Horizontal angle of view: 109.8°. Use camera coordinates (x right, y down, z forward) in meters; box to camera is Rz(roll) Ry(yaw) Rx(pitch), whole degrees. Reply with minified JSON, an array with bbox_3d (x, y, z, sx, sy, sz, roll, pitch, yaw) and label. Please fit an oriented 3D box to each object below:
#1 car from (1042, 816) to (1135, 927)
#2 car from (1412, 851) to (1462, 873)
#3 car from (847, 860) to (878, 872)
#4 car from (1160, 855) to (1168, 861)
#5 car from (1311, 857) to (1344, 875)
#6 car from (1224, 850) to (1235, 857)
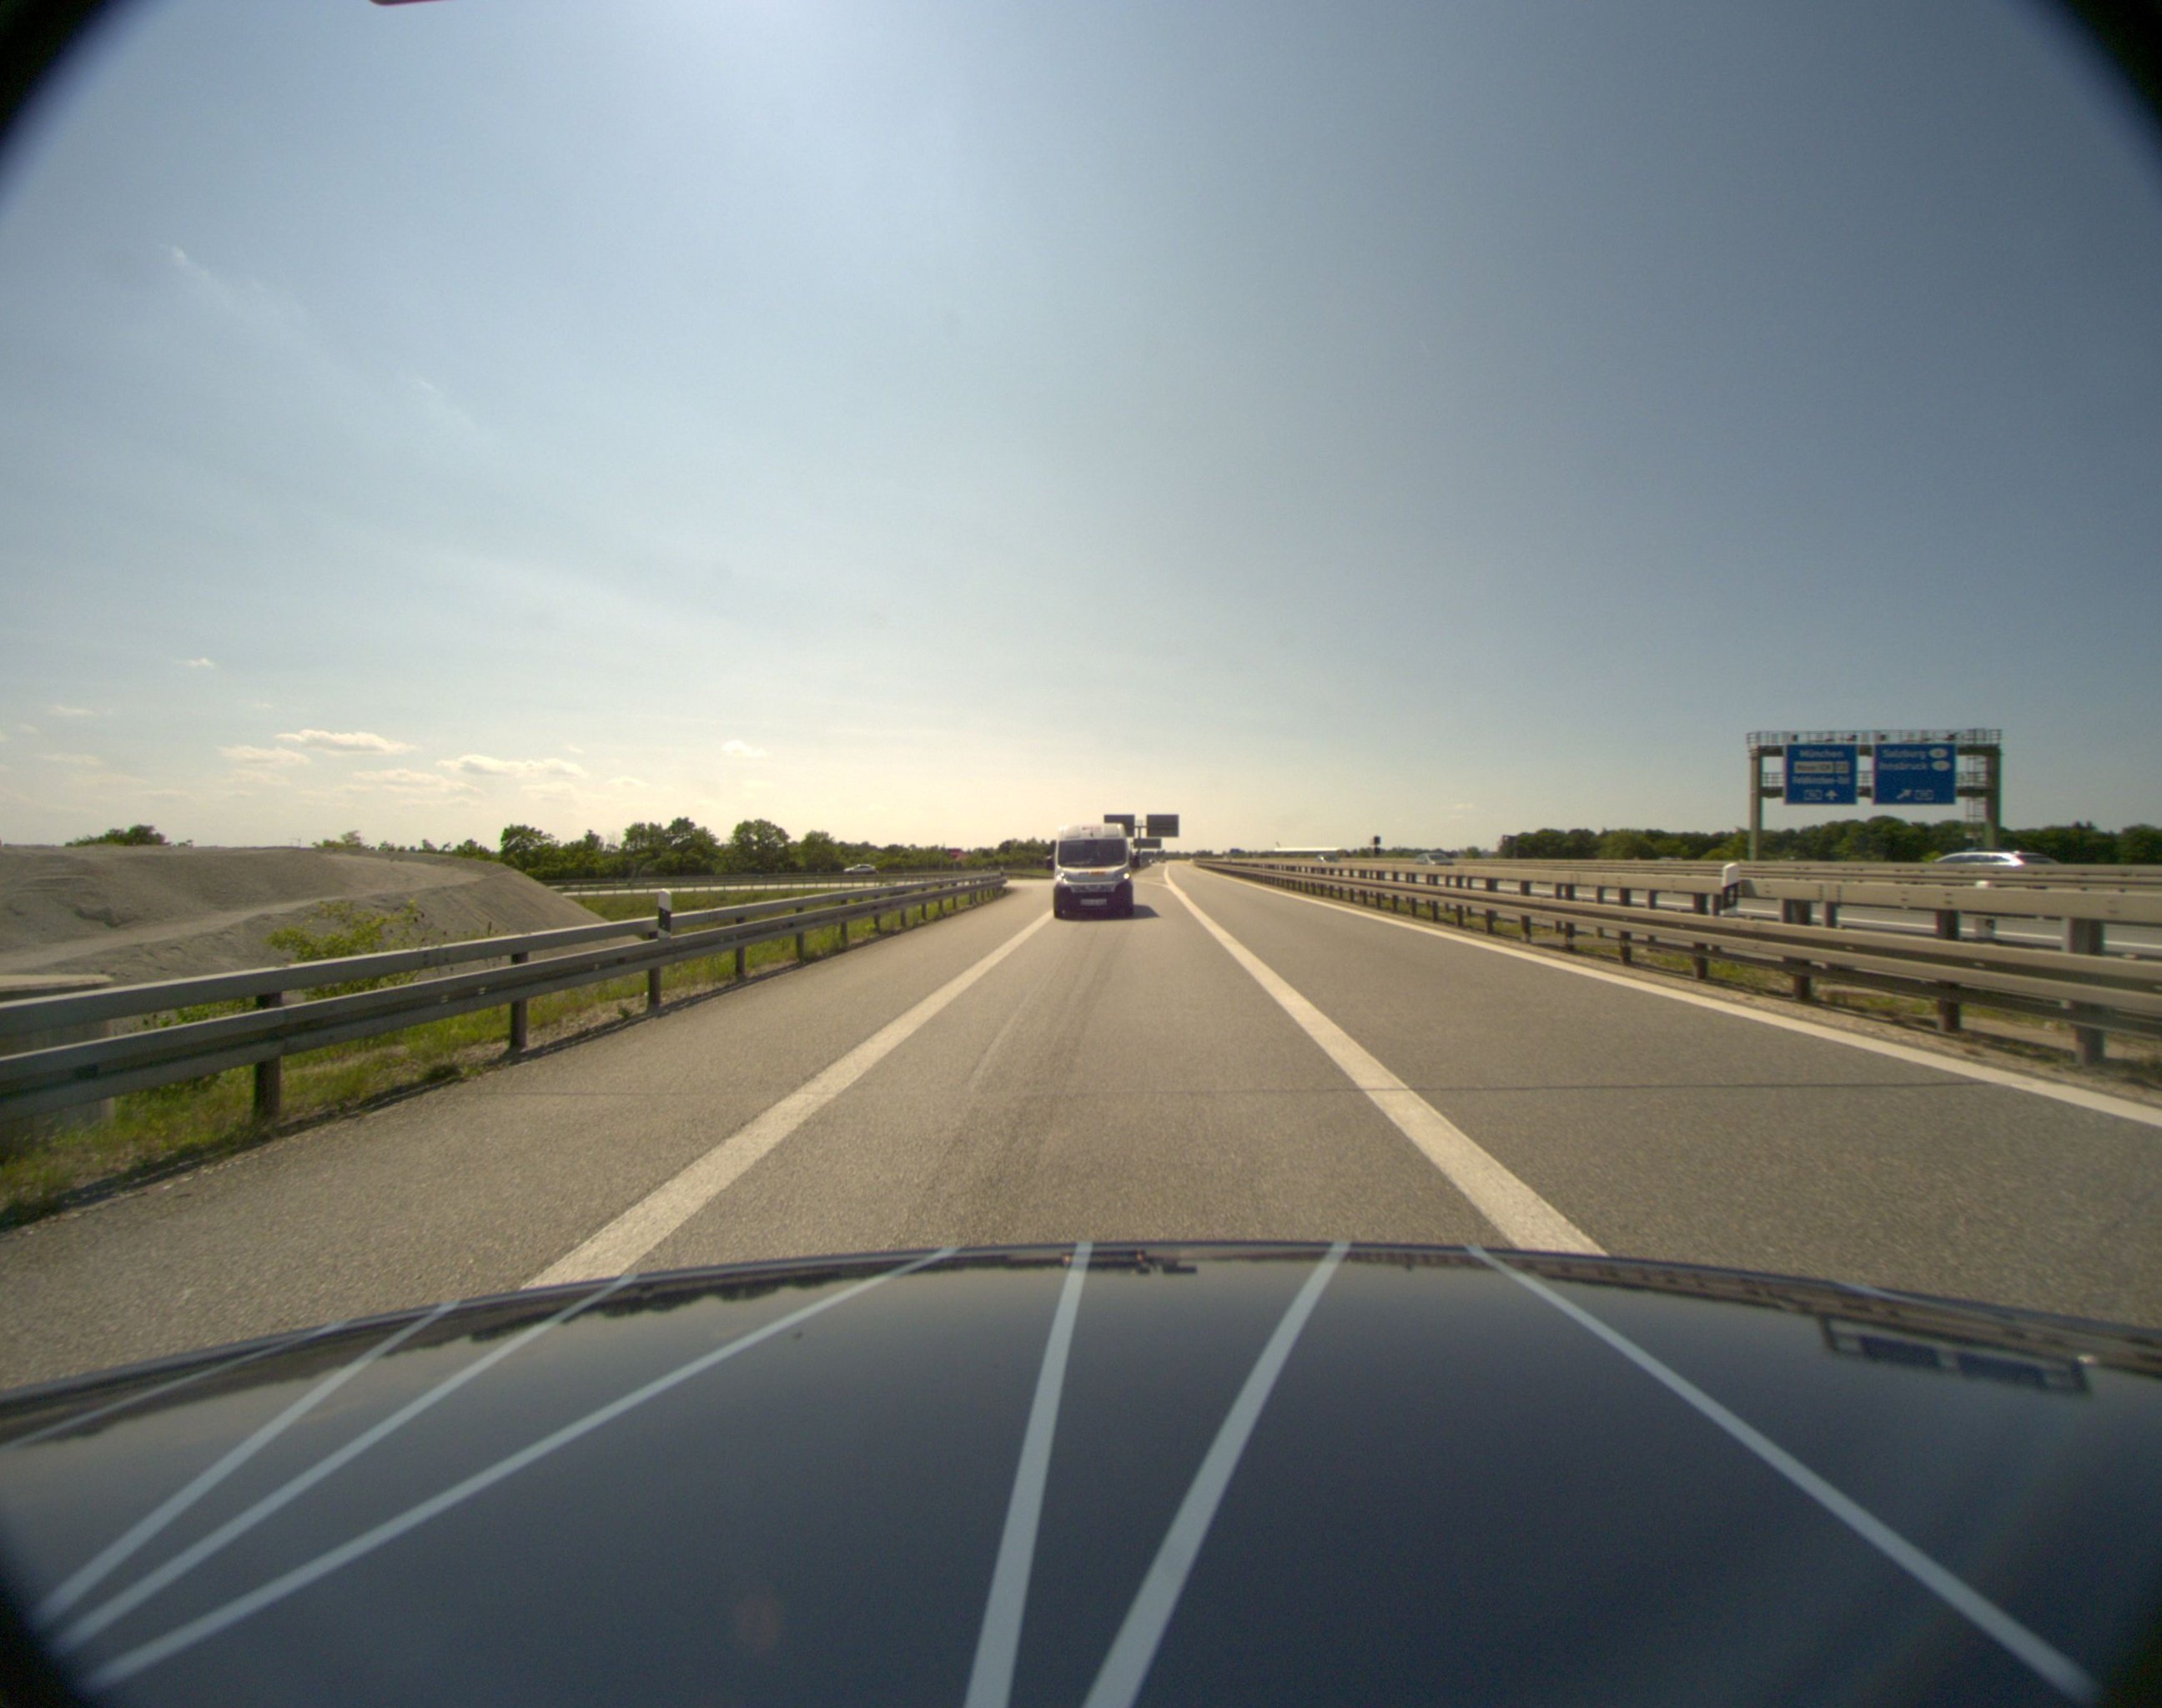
[{"bbox_3d":[0.390,0.407,20.345,2.087,2.509,6.239,-1,0,4],"label":"car"},{"bbox_3d":[25.041,0.513,53.577,1.766,1.414,4.217,-1,1,4],"label":"car"},{"bbox_3d":[-33.587,1.838,116.836,4.303,1.499,1.996,-3,1,-23],"label":"car"},{"bbox_3d":[24.437,1.242,223.777,1.998,1.744,4.000,-1,1,1],"label":"car"},{"bbox_3d":[22.242,1.068,68.817,1.834,1.424,4.218,-1,1,4],"label":"car"},{"bbox_3d":[32.562,-0.120,166.524,1.842,1.509,4.576,-1,1,4],"label":"car"}]
